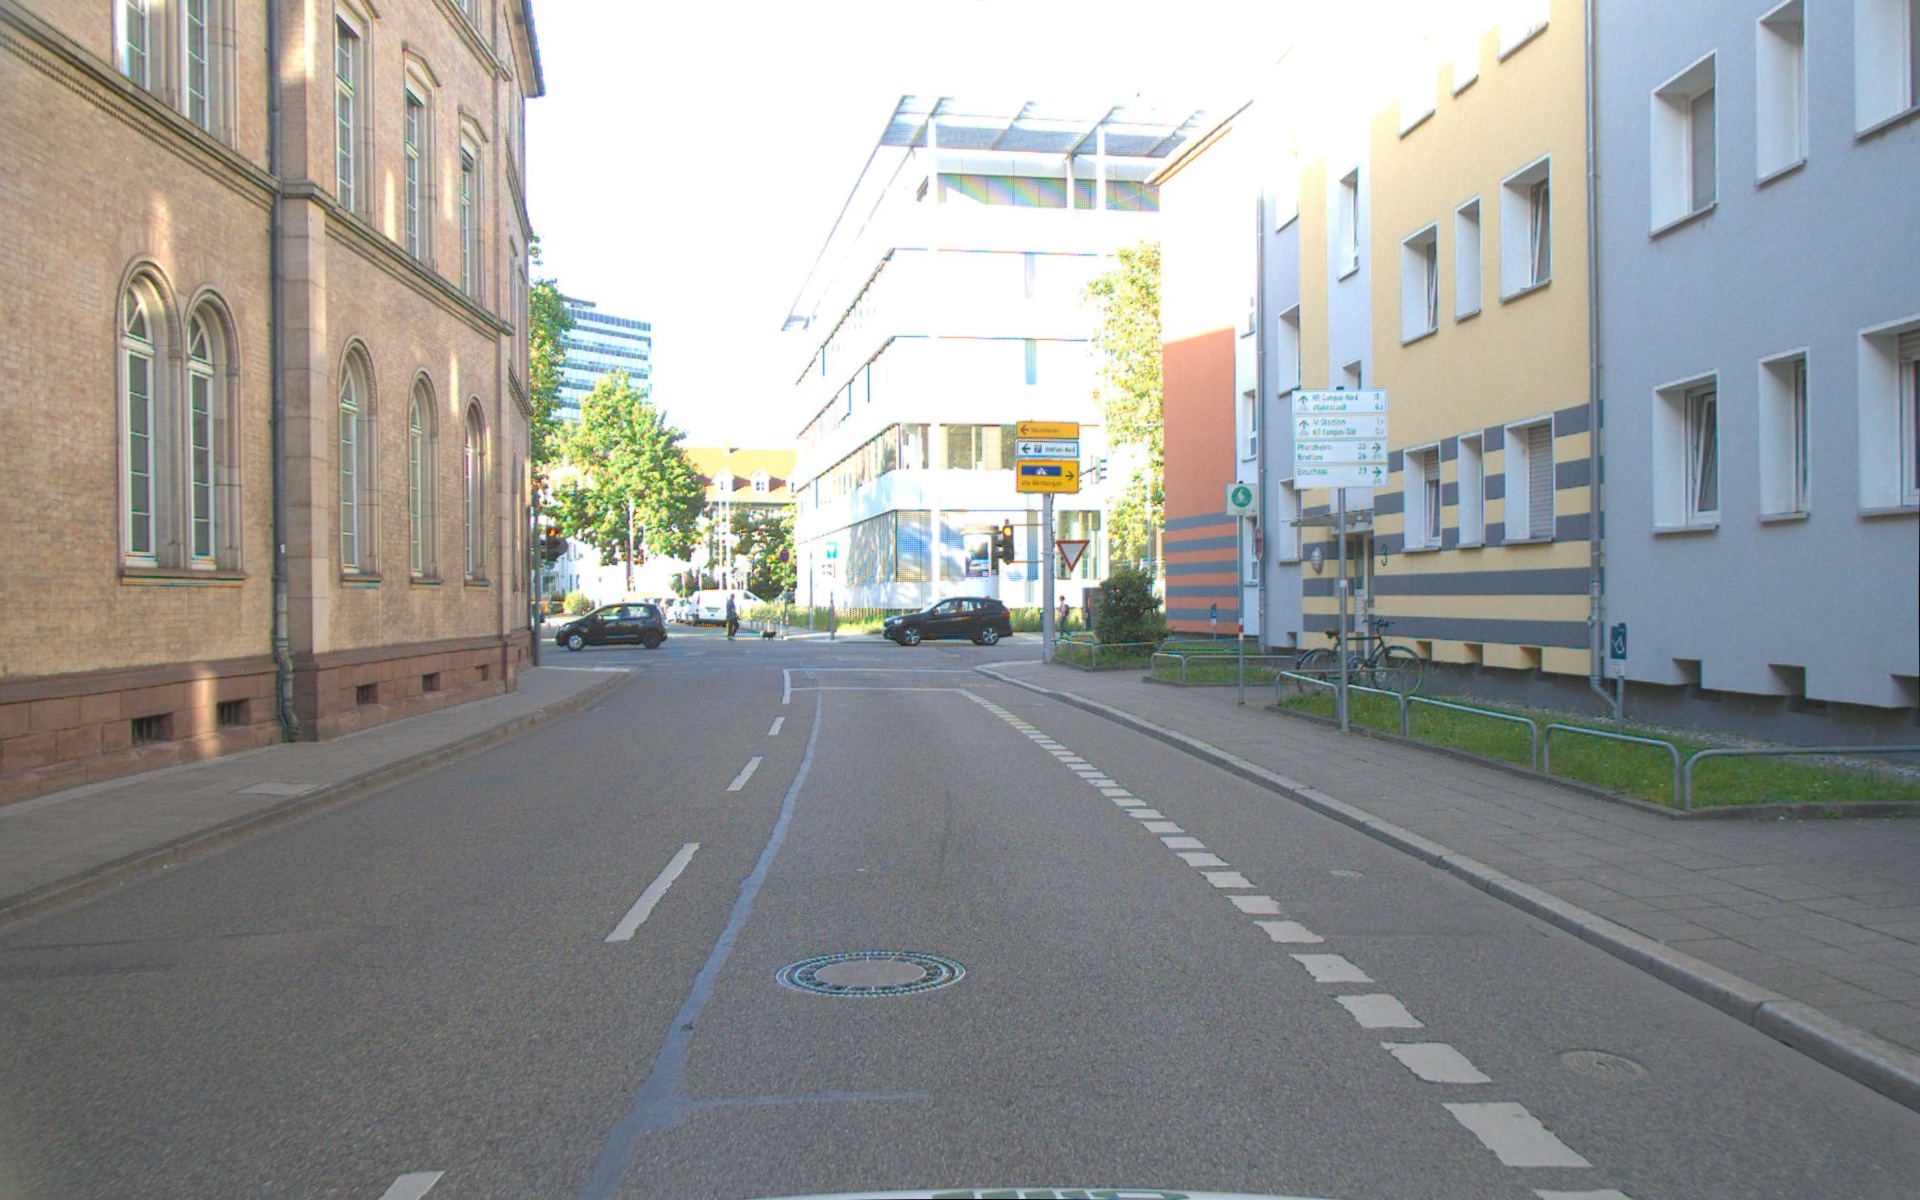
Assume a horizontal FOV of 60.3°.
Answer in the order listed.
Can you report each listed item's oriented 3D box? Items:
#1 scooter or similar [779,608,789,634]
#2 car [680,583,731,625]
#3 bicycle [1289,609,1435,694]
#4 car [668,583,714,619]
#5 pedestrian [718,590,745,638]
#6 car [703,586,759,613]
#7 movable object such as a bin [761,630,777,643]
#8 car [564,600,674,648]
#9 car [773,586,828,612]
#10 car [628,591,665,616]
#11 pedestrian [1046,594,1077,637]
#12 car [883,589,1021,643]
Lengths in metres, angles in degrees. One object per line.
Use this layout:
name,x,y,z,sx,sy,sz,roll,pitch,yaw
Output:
scooter or similar,-7.633,0.906,71.731,0.319,1.078,1.139,-1,0,-12
car,-13.849,0.228,89.766,2.382,2.149,5.214,1,-1,-12
bicycle,5.237,0.666,21.598,1.719,1.021,0.612,-2,0,-6
car,-16.523,0.077,101.454,2.291,2.149,4.986,1,-1,-15
pedestrian,-8.738,0.536,63.205,0.911,1.790,0.844,1,-1,-14
car,-17.665,-0.015,127.470,3.934,1.949,1.906,1,-1,-24
movable object such as a bin,-7.485,1.416,64.798,0.580,0.489,0.285,-1,0,-17
car,-10.929,0.767,52.963,3.371,1.471,1.768,-1,0,-14
car,-12.534,-0.053,129.935,3.934,1.915,1.922,1,-1,-24
car,-22.838,0.265,120.261,2.291,1.764,4.986,1,-1,-15
pedestrian,3.745,0.572,61.024,0.911,1.542,0.844,1,-1,-14
car,-0.275,0.514,55.204,4.290,1.662,1.994,-1,0,-13
